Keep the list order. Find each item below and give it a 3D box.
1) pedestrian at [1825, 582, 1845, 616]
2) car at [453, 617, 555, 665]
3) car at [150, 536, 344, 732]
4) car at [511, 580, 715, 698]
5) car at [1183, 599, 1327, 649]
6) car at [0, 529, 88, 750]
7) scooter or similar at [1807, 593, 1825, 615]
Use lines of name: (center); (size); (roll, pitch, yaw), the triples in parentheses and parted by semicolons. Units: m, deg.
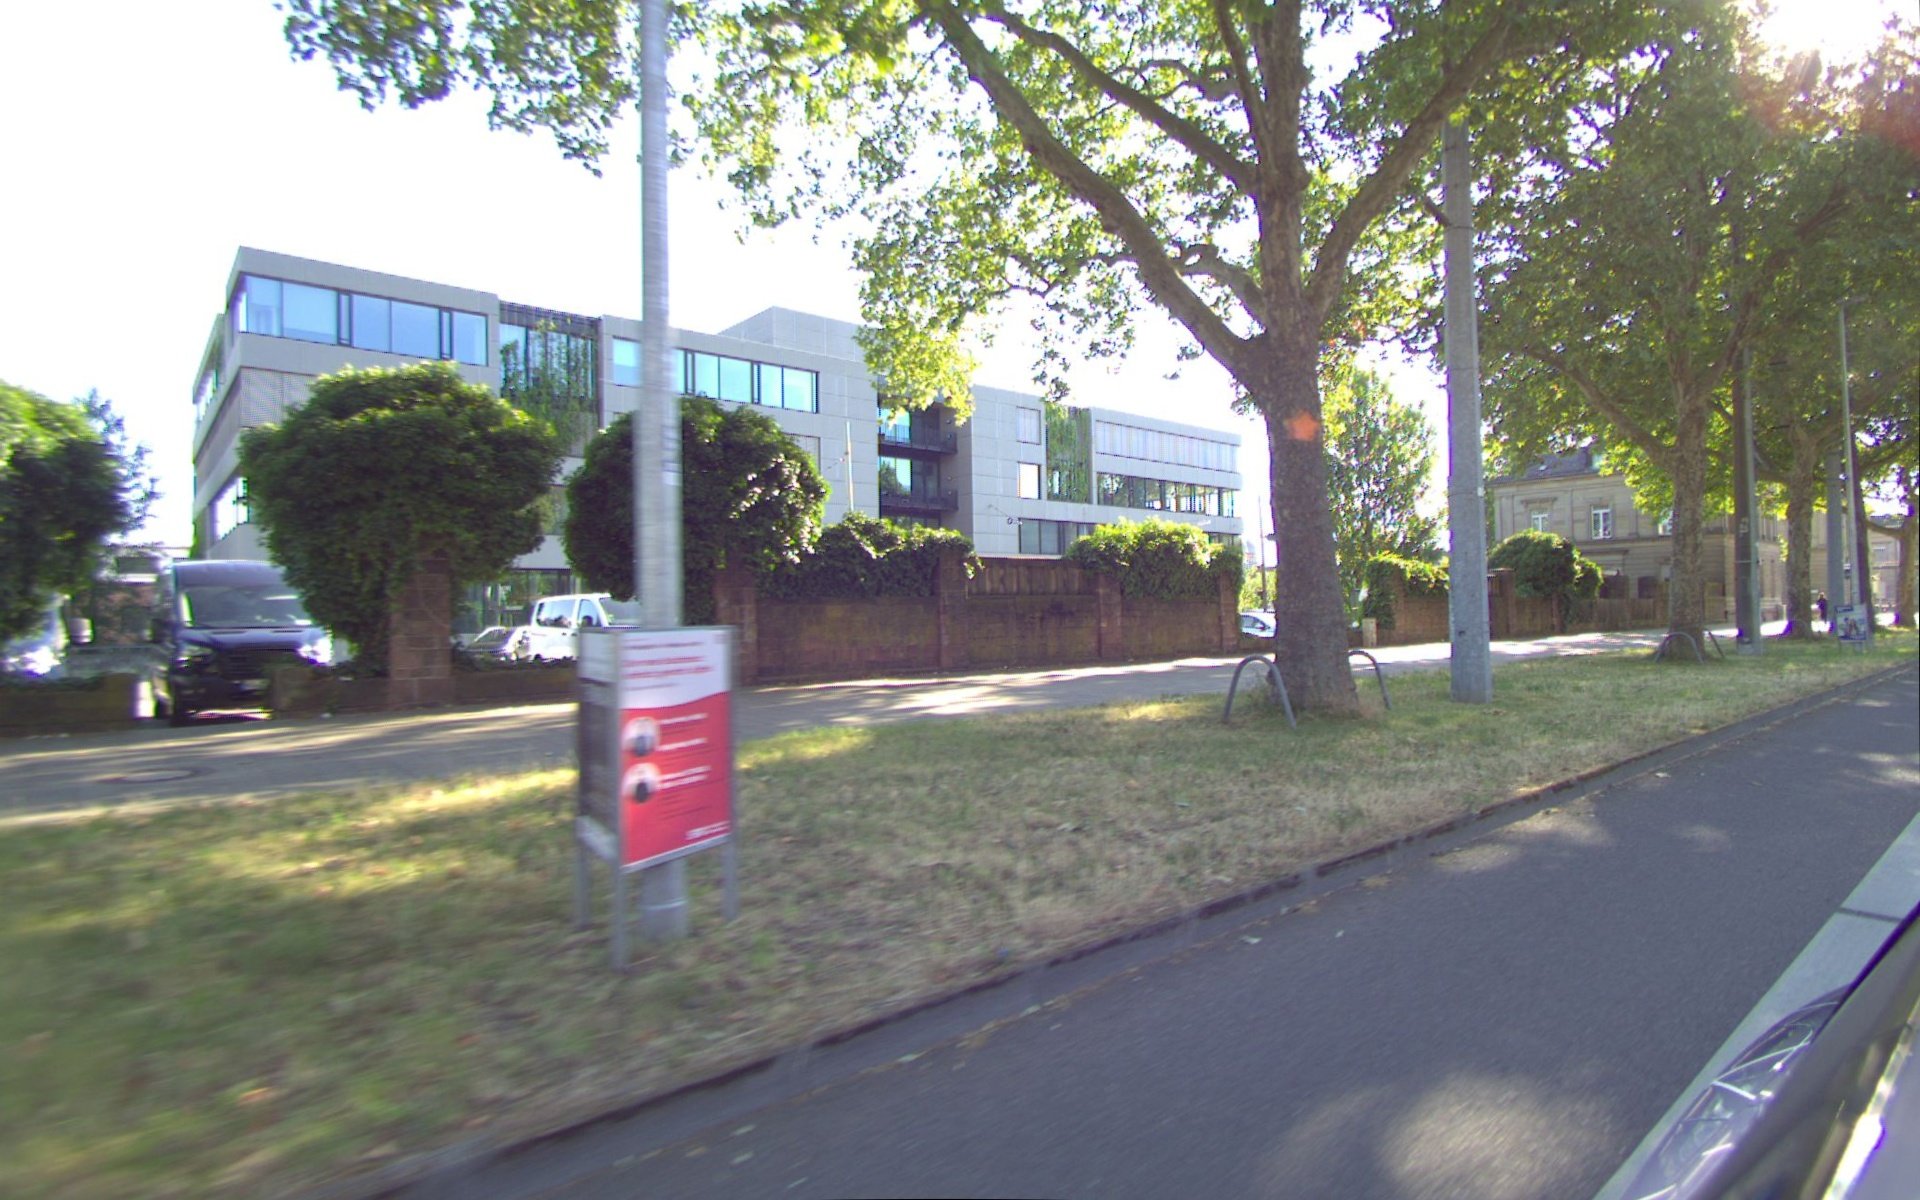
pedestrian: (46.000, -0.055, 53.227); (0.769, 1.766, 0.784); (0, 0, 43)
car: (-17.387, 1.545, 38.775); (1.626, 1.686, 3.649); (-1, -1, 15)
car: (-11.245, 0.521, 15.763); (1.965, 2.522, 5.469); (0, -2, -40)
car: (-6.942, 0.734, 19.842); (1.965, 2.007, 5.270); (0, -2, -40)
car: (9.674, 0.778, 33.342); (4.099, 1.541, 2.012); (-2, -1, 41)
car: (-12.941, 0.543, 13.473); (1.965, 2.522, 5.469); (0, -2, -40)
scooter or similar: (45.429, 0.218, 53.699); (0.718, 1.170, 0.748); (0, 0, 43)
